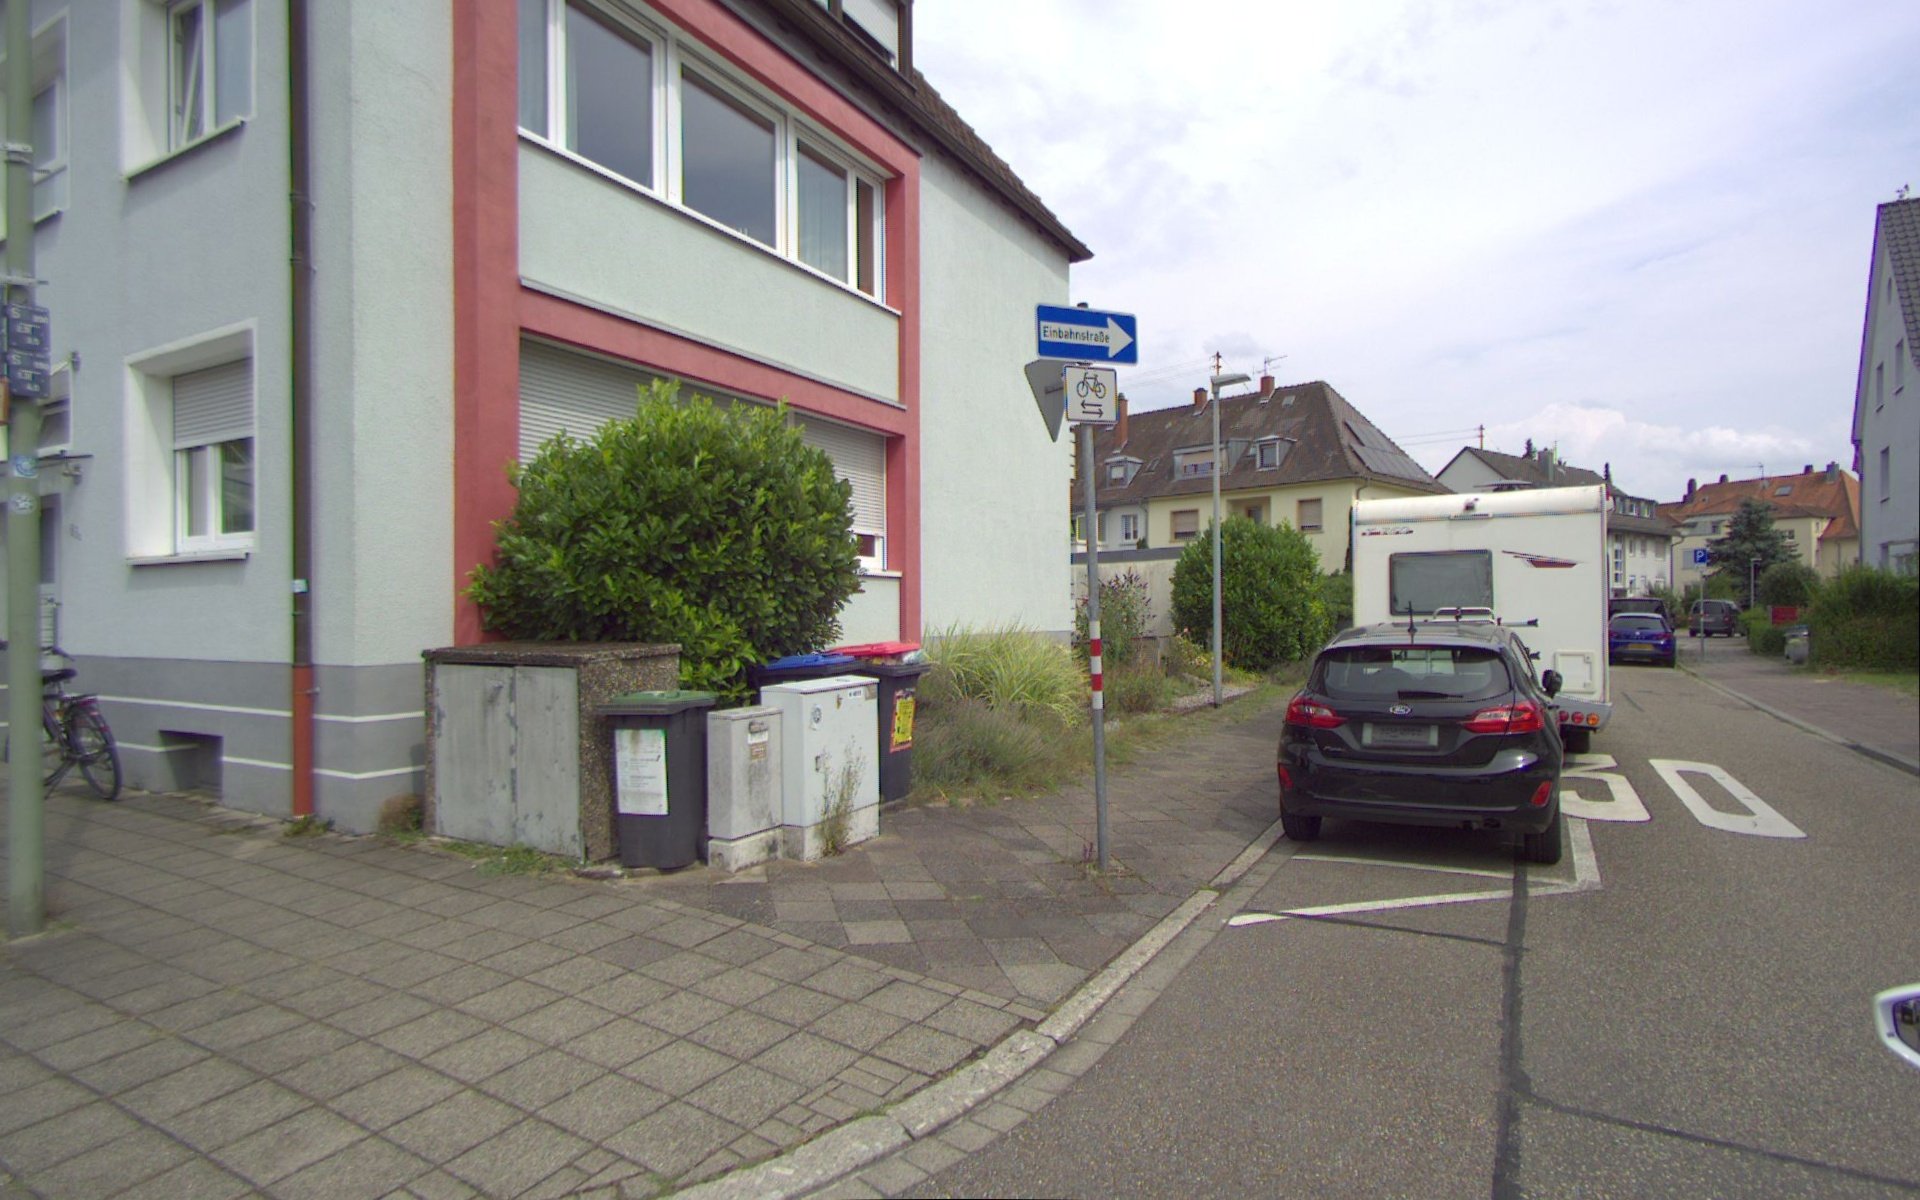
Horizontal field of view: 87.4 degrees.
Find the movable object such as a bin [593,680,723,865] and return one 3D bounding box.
[{"bbox_3d":[-1.639,0.911,5.480,0.466,0.919,0.487,0,-2,23],"label":"movable object such as a bin"}]

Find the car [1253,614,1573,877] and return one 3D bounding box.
[{"bbox_3d":[3.582,0.871,7.557,1.636,1.441,3.758,-1,-2,33],"label":"car"}]

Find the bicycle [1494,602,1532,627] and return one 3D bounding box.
[{"bbox_3d":[31.564,0.850,57.393,1.803,1.391,0.671,0,-2,18],"label":"bicycle"}]

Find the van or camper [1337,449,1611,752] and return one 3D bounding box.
[{"bbox_3d":[6.558,0.117,12.374,2.371,2.760,6.147,-1,-2,32],"label":"van or camper"}]

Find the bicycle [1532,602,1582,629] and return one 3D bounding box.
[{"bbox_3d":[33.814,0.873,56.918,2.305,1.480,0.720,0,-2,8],"label":"bicycle"}]

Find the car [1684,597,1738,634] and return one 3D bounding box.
[{"bbox_3d":[37.742,0.817,50.424,1.833,1.765,4.324,-1,-2,41],"label":"car"}]

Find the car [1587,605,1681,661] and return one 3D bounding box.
[{"bbox_3d":[19.154,0.947,28.499,1.703,1.471,3.979,-1,-3,41],"label":"car"}]

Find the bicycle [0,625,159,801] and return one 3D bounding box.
[{"bbox_3d":[-6.656,0.778,7.382,1.839,1.168,0.491,-1,-4,29],"label":"bicycle"}]

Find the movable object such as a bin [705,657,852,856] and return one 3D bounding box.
[{"bbox_3d":[-1.111,0.926,6.217,0.665,1.128,0.594,0,-2,23],"label":"movable object such as a bin"}]

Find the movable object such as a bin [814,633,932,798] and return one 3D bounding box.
[{"bbox_3d":[-0.635,0.820,7.435,0.665,1.147,0.594,0,-2,23],"label":"movable object such as a bin"}]

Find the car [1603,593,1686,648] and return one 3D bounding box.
[{"bbox_3d":[23.355,0.731,34.222,1.833,1.765,4.324,-1,-2,41],"label":"car"}]
